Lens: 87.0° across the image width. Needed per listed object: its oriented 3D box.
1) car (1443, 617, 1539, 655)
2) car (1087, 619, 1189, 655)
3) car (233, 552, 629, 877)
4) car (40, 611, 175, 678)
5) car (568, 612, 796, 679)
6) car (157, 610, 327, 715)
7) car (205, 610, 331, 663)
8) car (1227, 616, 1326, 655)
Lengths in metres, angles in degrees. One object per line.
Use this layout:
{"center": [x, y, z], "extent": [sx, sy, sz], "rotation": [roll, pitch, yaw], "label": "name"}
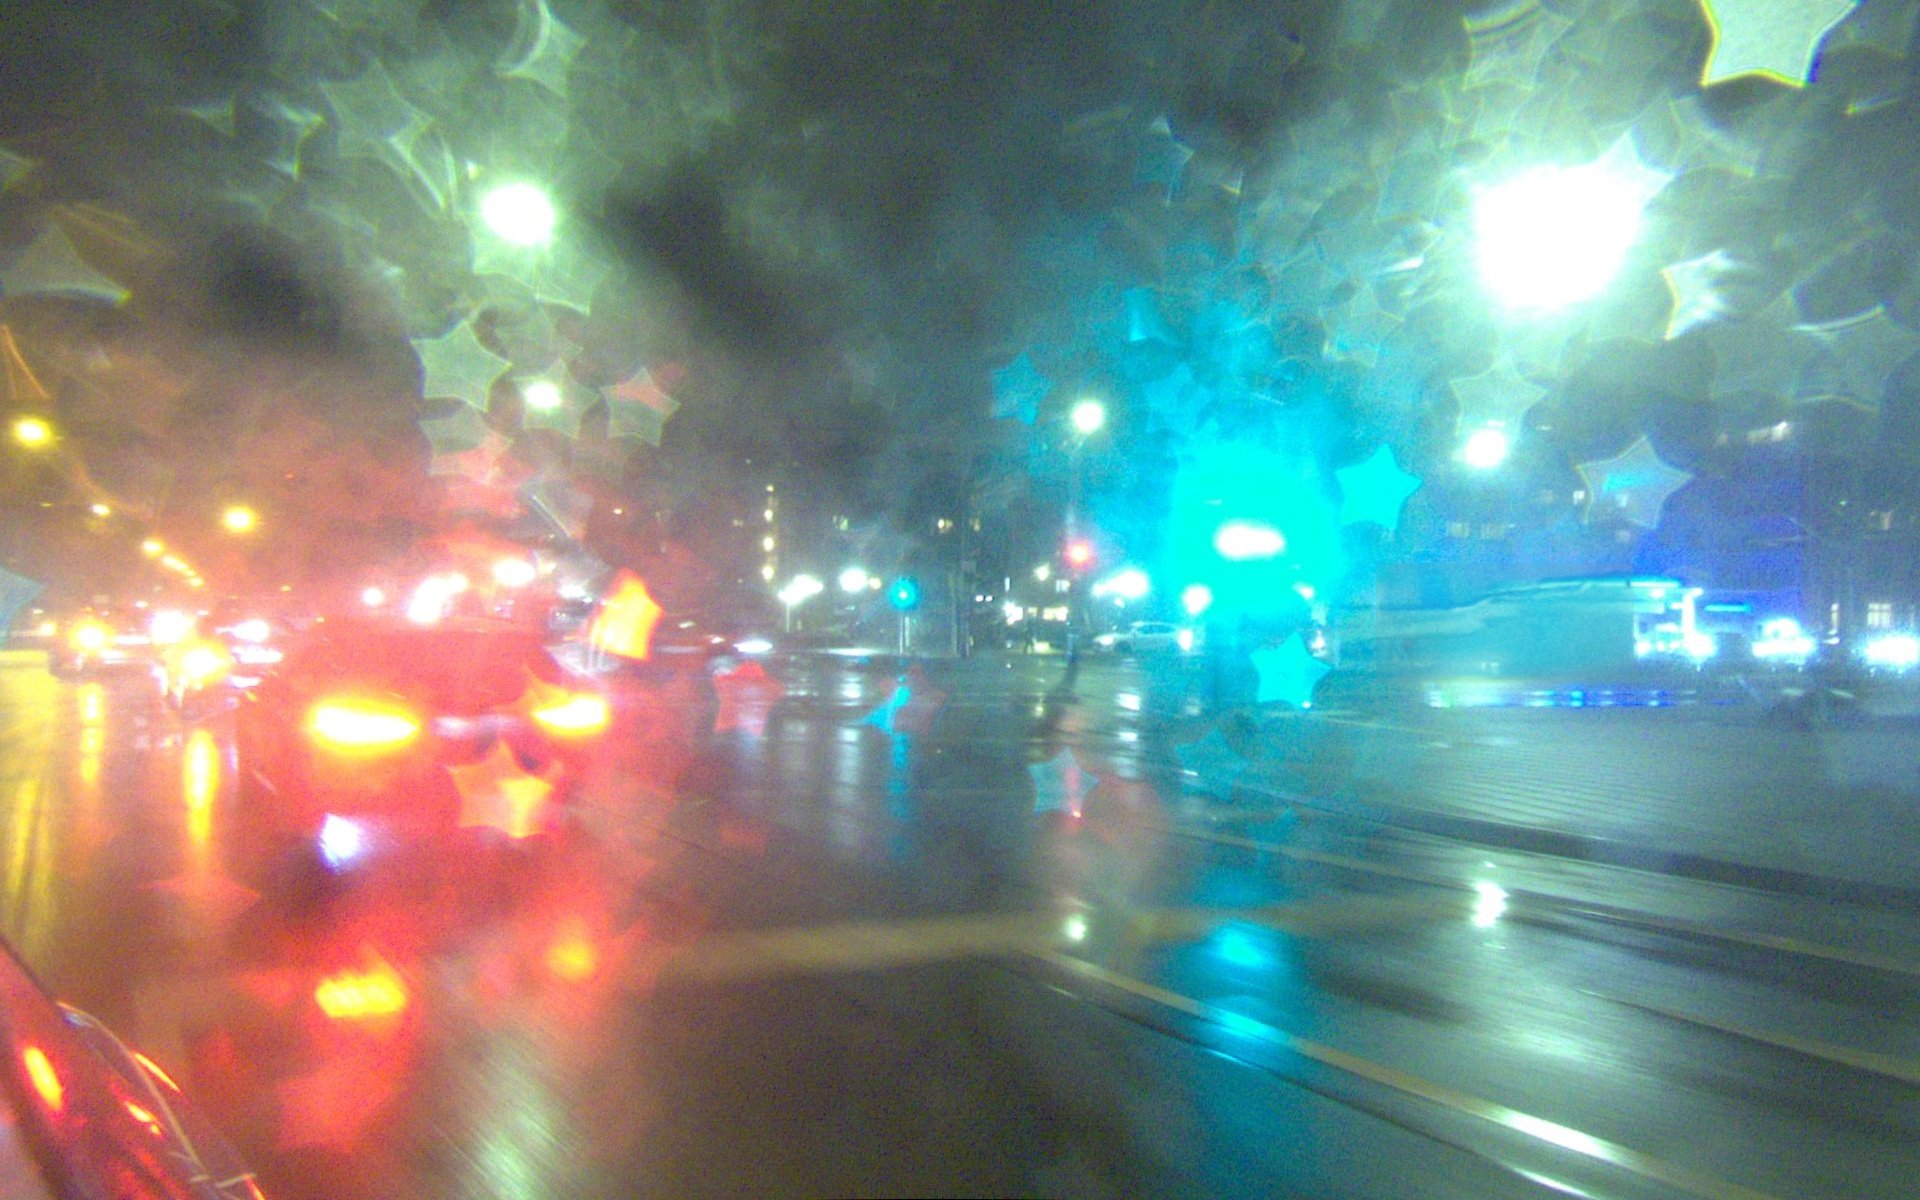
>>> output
{"center": [26.619, 1.792, 50.802], "extent": [3.934, 1.852, 1.859], "rotation": [1, -1, -12], "label": "car"}
{"center": [8.081, 1.678, 45.968], "extent": [4.149, 1.578, 1.855], "rotation": [1, -2, -15], "label": "car"}
{"center": [-4.273, 0.675, 7.788], "extent": [1.783, 1.783, 4.279], "rotation": [2, -2, -40], "label": "car"}
{"center": [-19.851, 0.985, 23.513], "extent": [4.201, 1.436, 1.604], "rotation": [-1, -2, 39], "label": "car"}
{"center": [-6.358, 1.018, 23.407], "extent": [4.676, 1.436, 1.994], "rotation": [0, -1, 9], "label": "car"}
{"center": [-11.530, 0.896, 16.125], "extent": [1.800, 1.436, 4.212], "rotation": [0, -1, -41], "label": "car"}
{"center": [-20.613, 1.040, 30.060], "extent": [5.067, 1.436, 1.972], "rotation": [-1, -2, 42], "label": "car"}
{"center": [14.897, 1.661, 47.721], "extent": [3.933, 1.785, 2.005], "rotation": [1, -1, -14], "label": "car"}
